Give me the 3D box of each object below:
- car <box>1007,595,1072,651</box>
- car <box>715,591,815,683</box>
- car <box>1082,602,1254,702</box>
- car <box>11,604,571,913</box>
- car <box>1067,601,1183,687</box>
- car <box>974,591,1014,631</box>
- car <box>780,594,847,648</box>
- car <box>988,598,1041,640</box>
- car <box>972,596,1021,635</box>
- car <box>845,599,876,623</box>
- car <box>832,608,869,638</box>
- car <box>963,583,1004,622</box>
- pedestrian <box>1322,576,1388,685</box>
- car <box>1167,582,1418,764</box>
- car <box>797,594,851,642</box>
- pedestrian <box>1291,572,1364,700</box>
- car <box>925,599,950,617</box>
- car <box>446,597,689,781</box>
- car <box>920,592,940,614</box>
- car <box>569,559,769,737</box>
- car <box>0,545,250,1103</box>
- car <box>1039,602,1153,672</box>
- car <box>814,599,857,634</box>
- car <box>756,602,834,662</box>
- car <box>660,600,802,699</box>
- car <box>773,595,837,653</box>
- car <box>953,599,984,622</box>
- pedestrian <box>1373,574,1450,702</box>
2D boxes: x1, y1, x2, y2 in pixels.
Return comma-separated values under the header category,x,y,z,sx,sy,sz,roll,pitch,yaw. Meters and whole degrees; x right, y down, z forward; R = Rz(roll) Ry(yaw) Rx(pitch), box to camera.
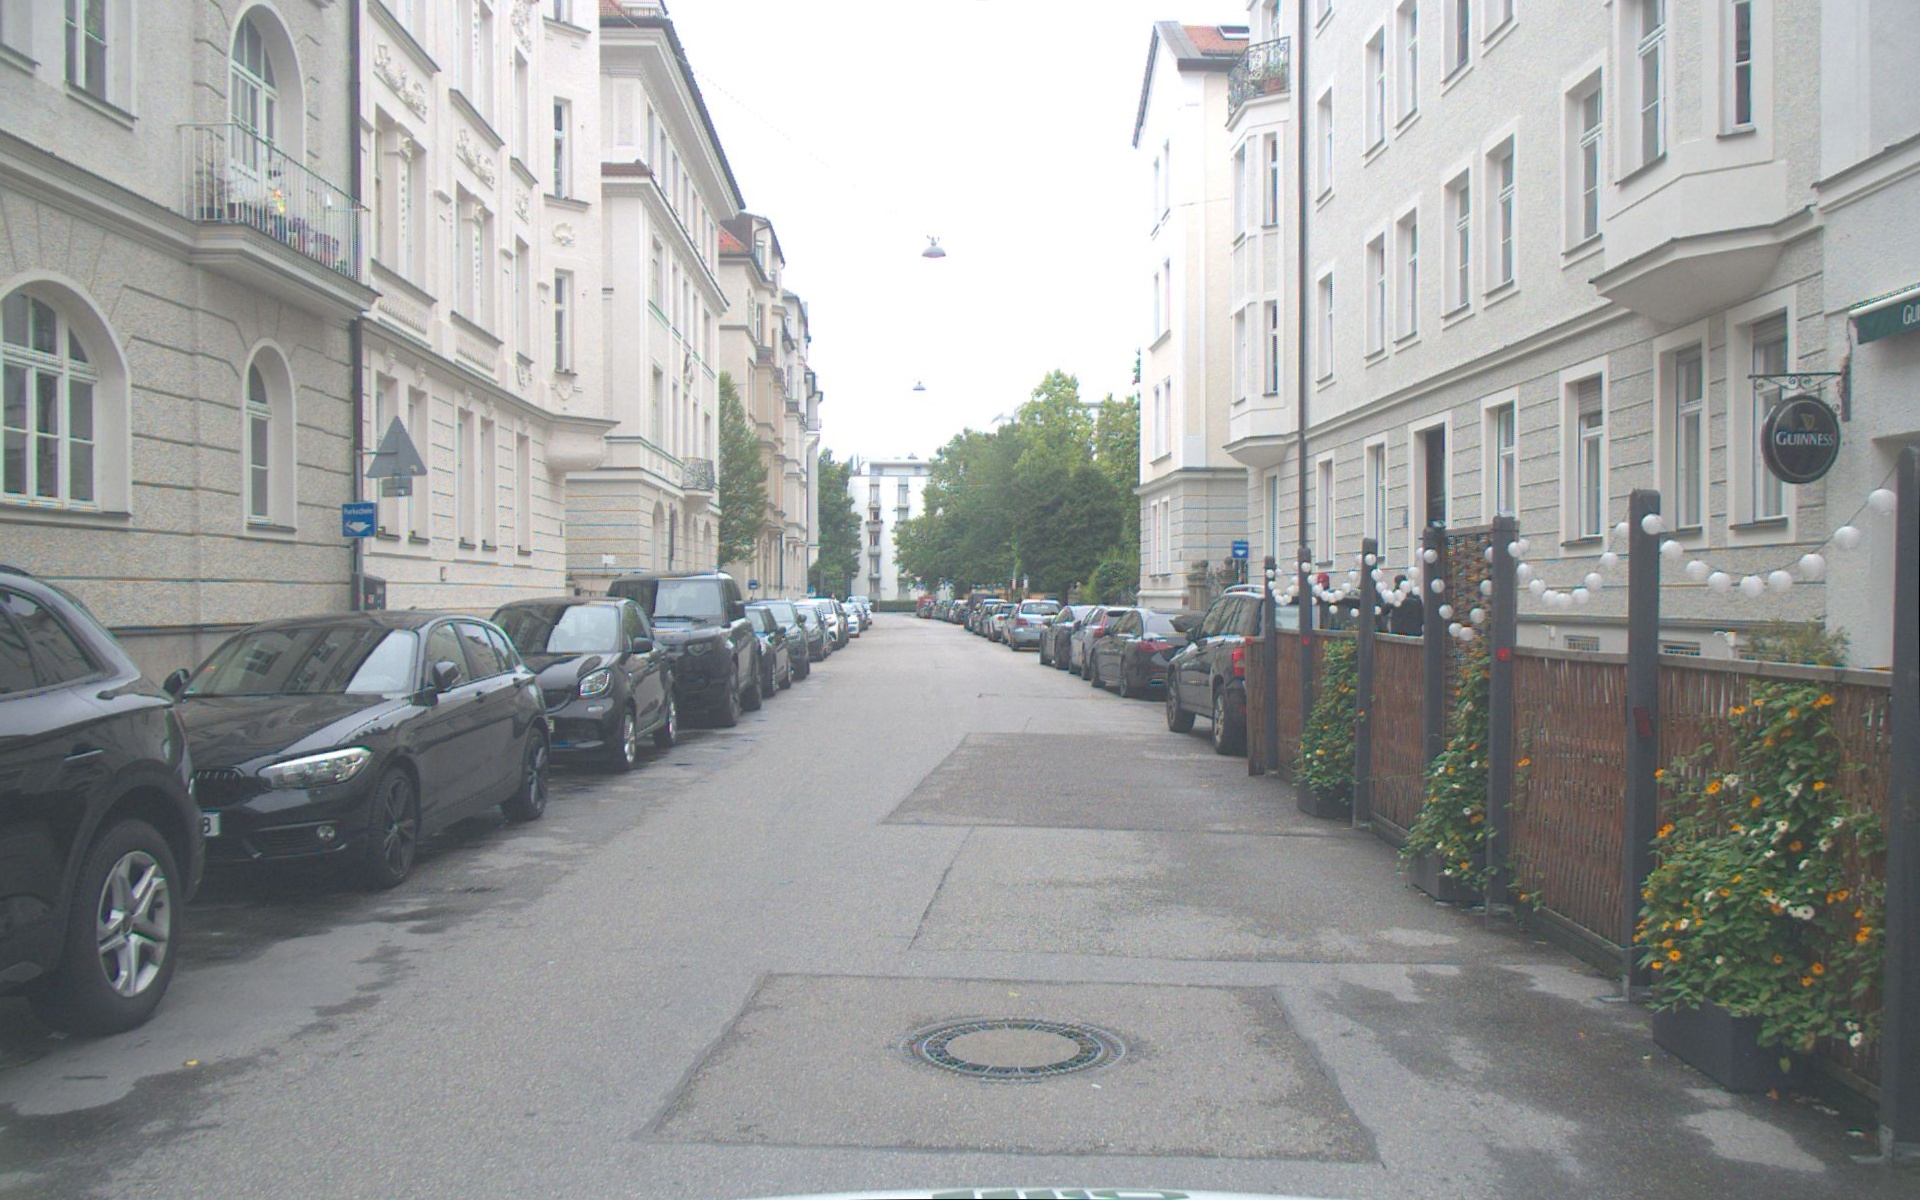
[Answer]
category,x,y,z,sx,sy,sz,roll,pitch,yaw
car,2.469,0.693,52.368,1.785,1.596,4.400,3,0,0
car,-3.801,0.685,32.815,1.692,1.647,4.118,-2,0,-4
car,3.377,0.805,27.799,1.801,1.423,4.968,2,0,-5
car,-3.680,0.763,9.950,1.620,1.431,4.092,-1,0,1
car,3.235,0.828,33.267,1.725,1.511,4.419,3,0,-2
car,1.613,0.528,80.655,1.688,1.800,4.411,3,-1,-2
car,-4.714,0.642,53.883,1.876,1.647,4.570,0,0,-1
car,2.062,0.694,63.269,1.748,1.531,4.063,1,0,-2
car,1.621,0.669,75.581,1.716,1.639,4.419,2,0,-5
car,-6.622,0.735,110.375,1.799,1.463,4.273,-3,0,-2
car,-5.905,1.245,89.659,1.799,1.461,4.243,-3,0,-2
car,1.273,0.106,90.058,1.912,1.988,4.664,2,1,-3
pedestrian,6.812,0.516,28.591,0.865,1.845,1.111,0,0,-1
car,3.385,0.678,17.622,1.763,1.704,4.188,0,0,-1
car,-4.854,0.605,59.472,1.799,1.647,4.242,0,0,-3
pedestrian,5.441,0.518,24.521,0.865,1.843,1.111,1,0,3
car,-2.005,0.700,146.857,1.803,1.545,3.942,1,-1,-6
car,-3.647,0.758,15.918,1.584,1.539,3.530,-1,0,-2
car,-2.826,0.280,157.639,1.799,1.960,4.004,3,0,0
car,-3.525,0.521,20.871,1.799,1.927,4.761,-2,0,-2
car,-3.724,0.655,4.236,1.837,1.627,4.434,0,0,1
car,3.063,0.807,38.217,1.954,1.483,4.709,0,0,-4
car,-5.604,0.706,74.821,1.800,1.459,4.241,-2,0,-4
car,-4.361,0.821,44.202,1.756,1.440,4.276,-2,0,-2
car,-3.708,0.762,27.462,1.799,1.418,4.244,-2,0,-1
car,-4.585,0.672,48.890,1.748,1.568,4.252,-2,0,-5
car,0.540,0.709,108.122,1.801,1.438,4.340,1,-1,-2
pedestrian,6.587,0.539,24.170,0.864,1.818,1.111,1,0,4
